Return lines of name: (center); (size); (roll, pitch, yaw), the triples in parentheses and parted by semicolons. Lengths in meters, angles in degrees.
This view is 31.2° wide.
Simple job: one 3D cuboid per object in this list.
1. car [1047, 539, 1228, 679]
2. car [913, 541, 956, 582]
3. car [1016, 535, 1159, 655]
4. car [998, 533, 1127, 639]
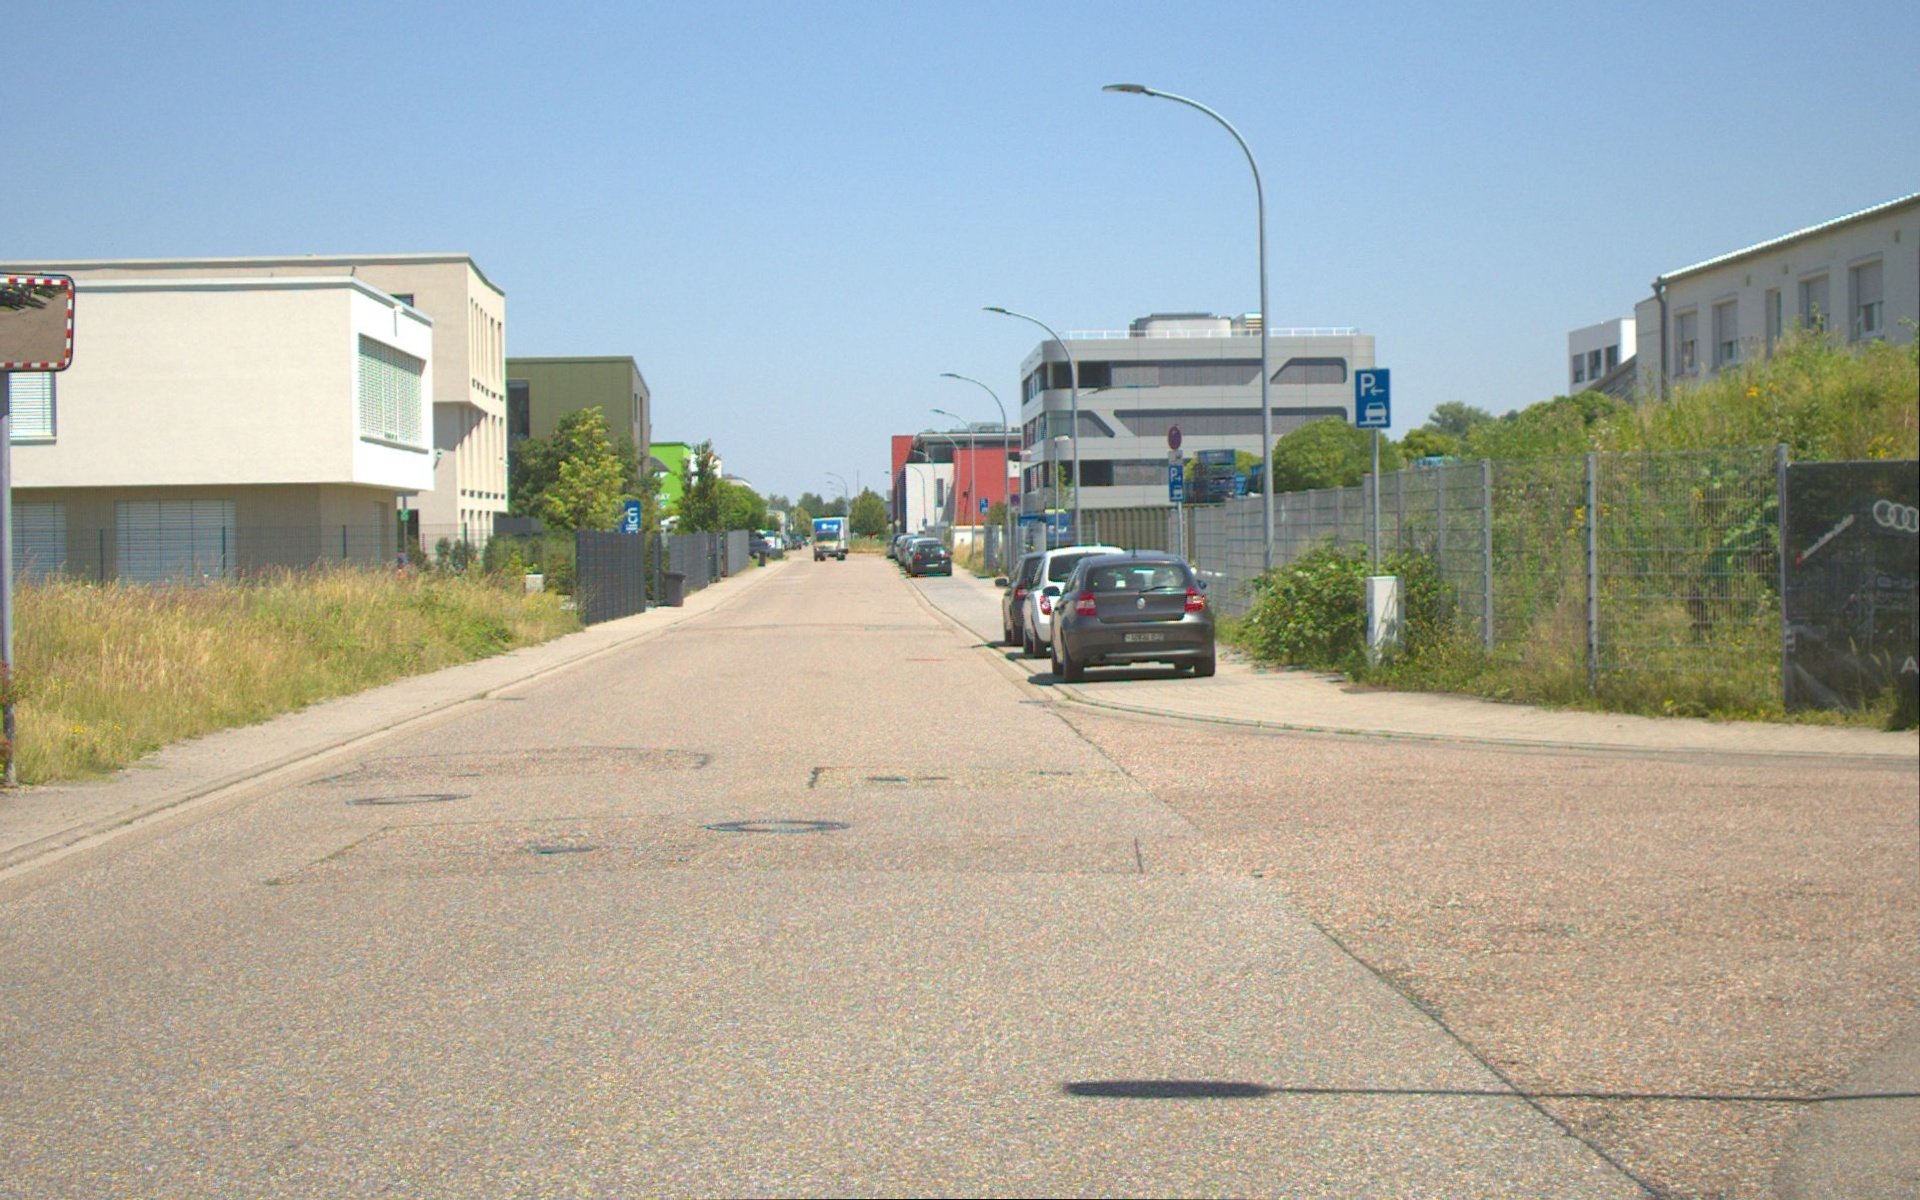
car: (2.003, 0.064, 39.804); (1.908, 1.443, 4.000); (-2, 1, 1)
car: (-1.132, -1.690, 150.244); (1.776, 1.722, 4.000); (1, 1, -1)
car: (1.785, -0.107, 49.077); (1.908, 1.541, 4.000); (-2, 1, 1)
car: (1.613, -0.257, 54.742); (1.908, 1.541, 4.000); (-2, 1, 1)
